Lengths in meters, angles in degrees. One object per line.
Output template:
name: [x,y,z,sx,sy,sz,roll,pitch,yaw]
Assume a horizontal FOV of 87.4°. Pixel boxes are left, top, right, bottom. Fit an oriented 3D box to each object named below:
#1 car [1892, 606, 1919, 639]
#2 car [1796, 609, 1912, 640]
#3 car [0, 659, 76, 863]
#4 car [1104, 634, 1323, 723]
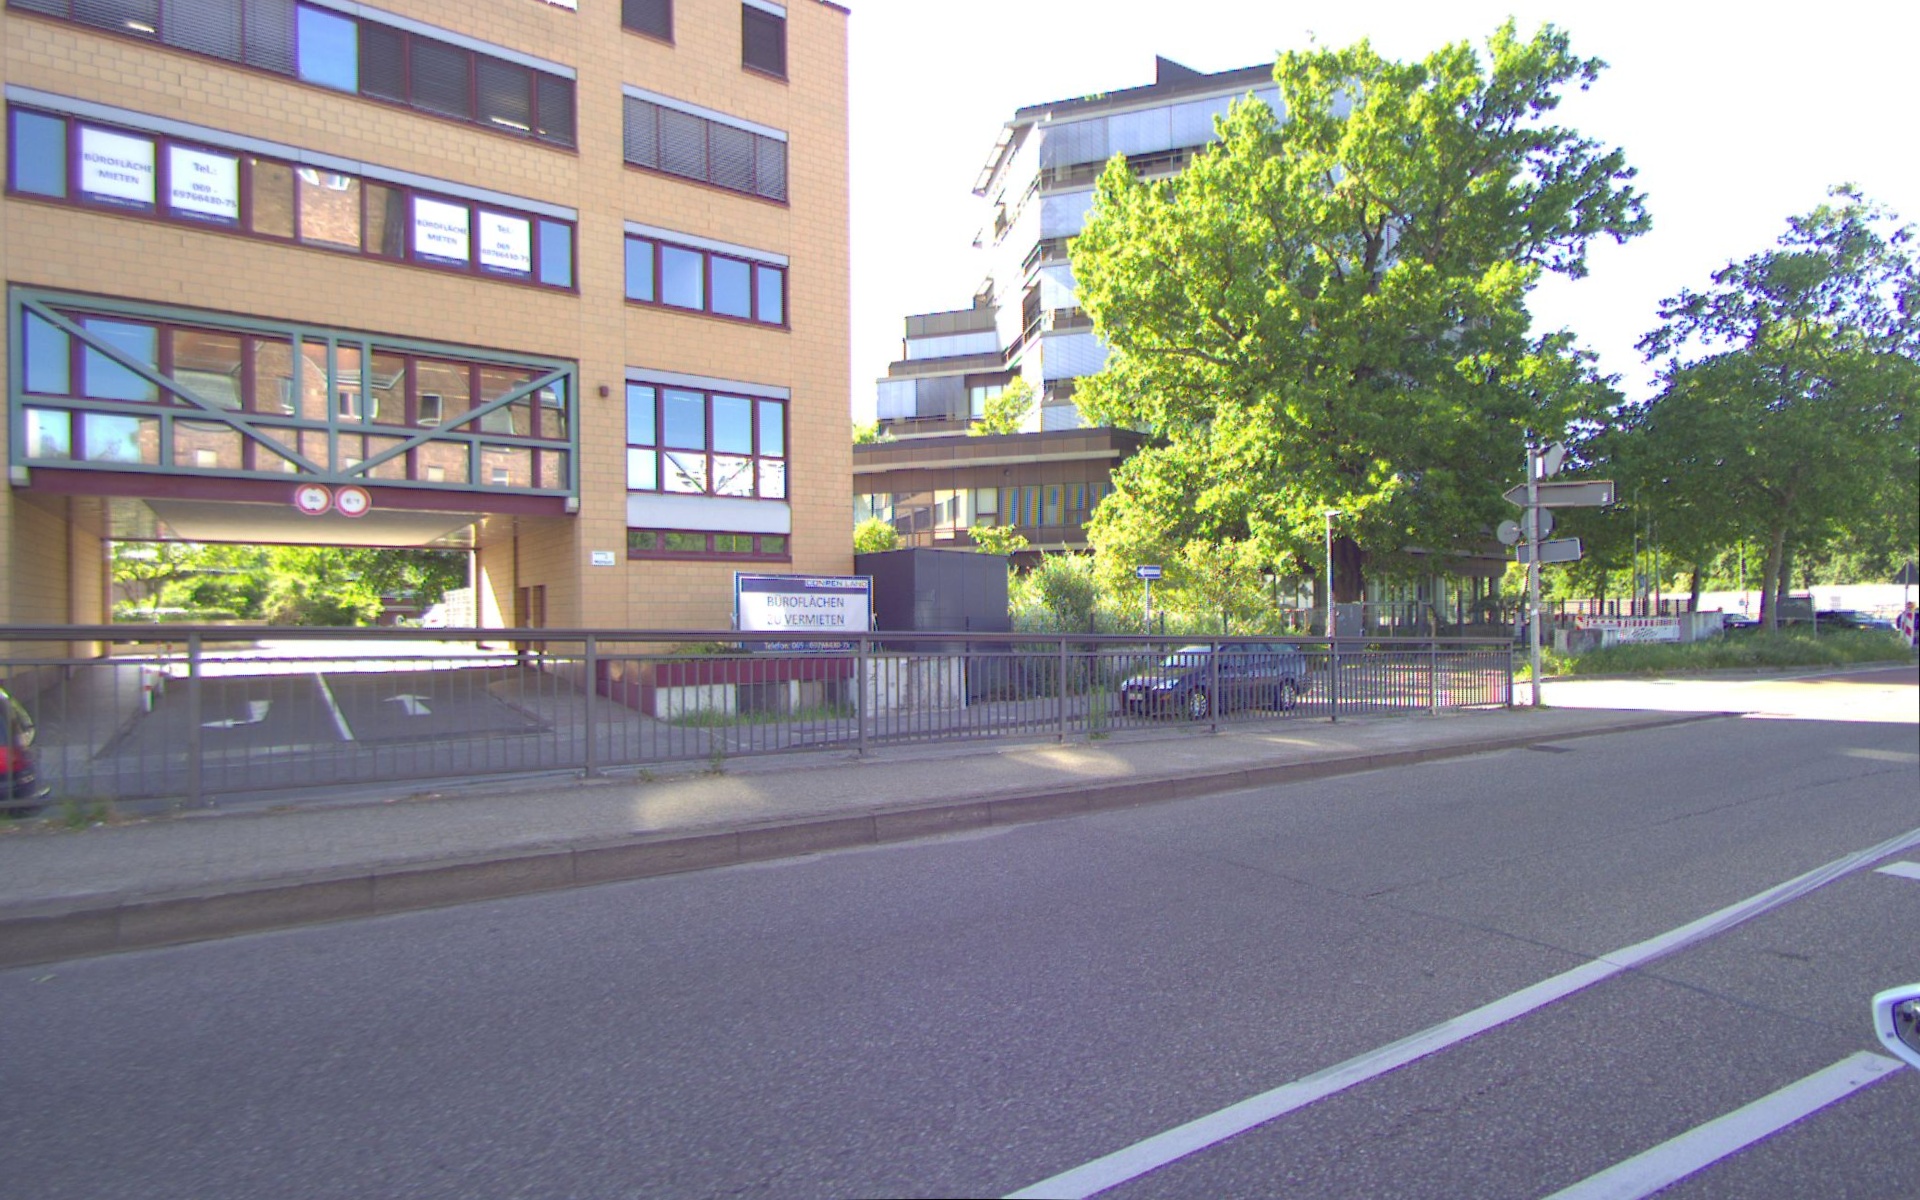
car: [44.012,0.981,44.200,1.790,1.458,4.450,-1,-1,-1]
car: [44.934,1.219,50.628,1.790,1.458,4.450,-1,-1,-1]
car: [-10.994,1.531,8.842,4.644,1.781,1.936,0,0,-37]
car: [5.197,1.505,20.436,4.402,1.523,1.810,0,-1,-33]
